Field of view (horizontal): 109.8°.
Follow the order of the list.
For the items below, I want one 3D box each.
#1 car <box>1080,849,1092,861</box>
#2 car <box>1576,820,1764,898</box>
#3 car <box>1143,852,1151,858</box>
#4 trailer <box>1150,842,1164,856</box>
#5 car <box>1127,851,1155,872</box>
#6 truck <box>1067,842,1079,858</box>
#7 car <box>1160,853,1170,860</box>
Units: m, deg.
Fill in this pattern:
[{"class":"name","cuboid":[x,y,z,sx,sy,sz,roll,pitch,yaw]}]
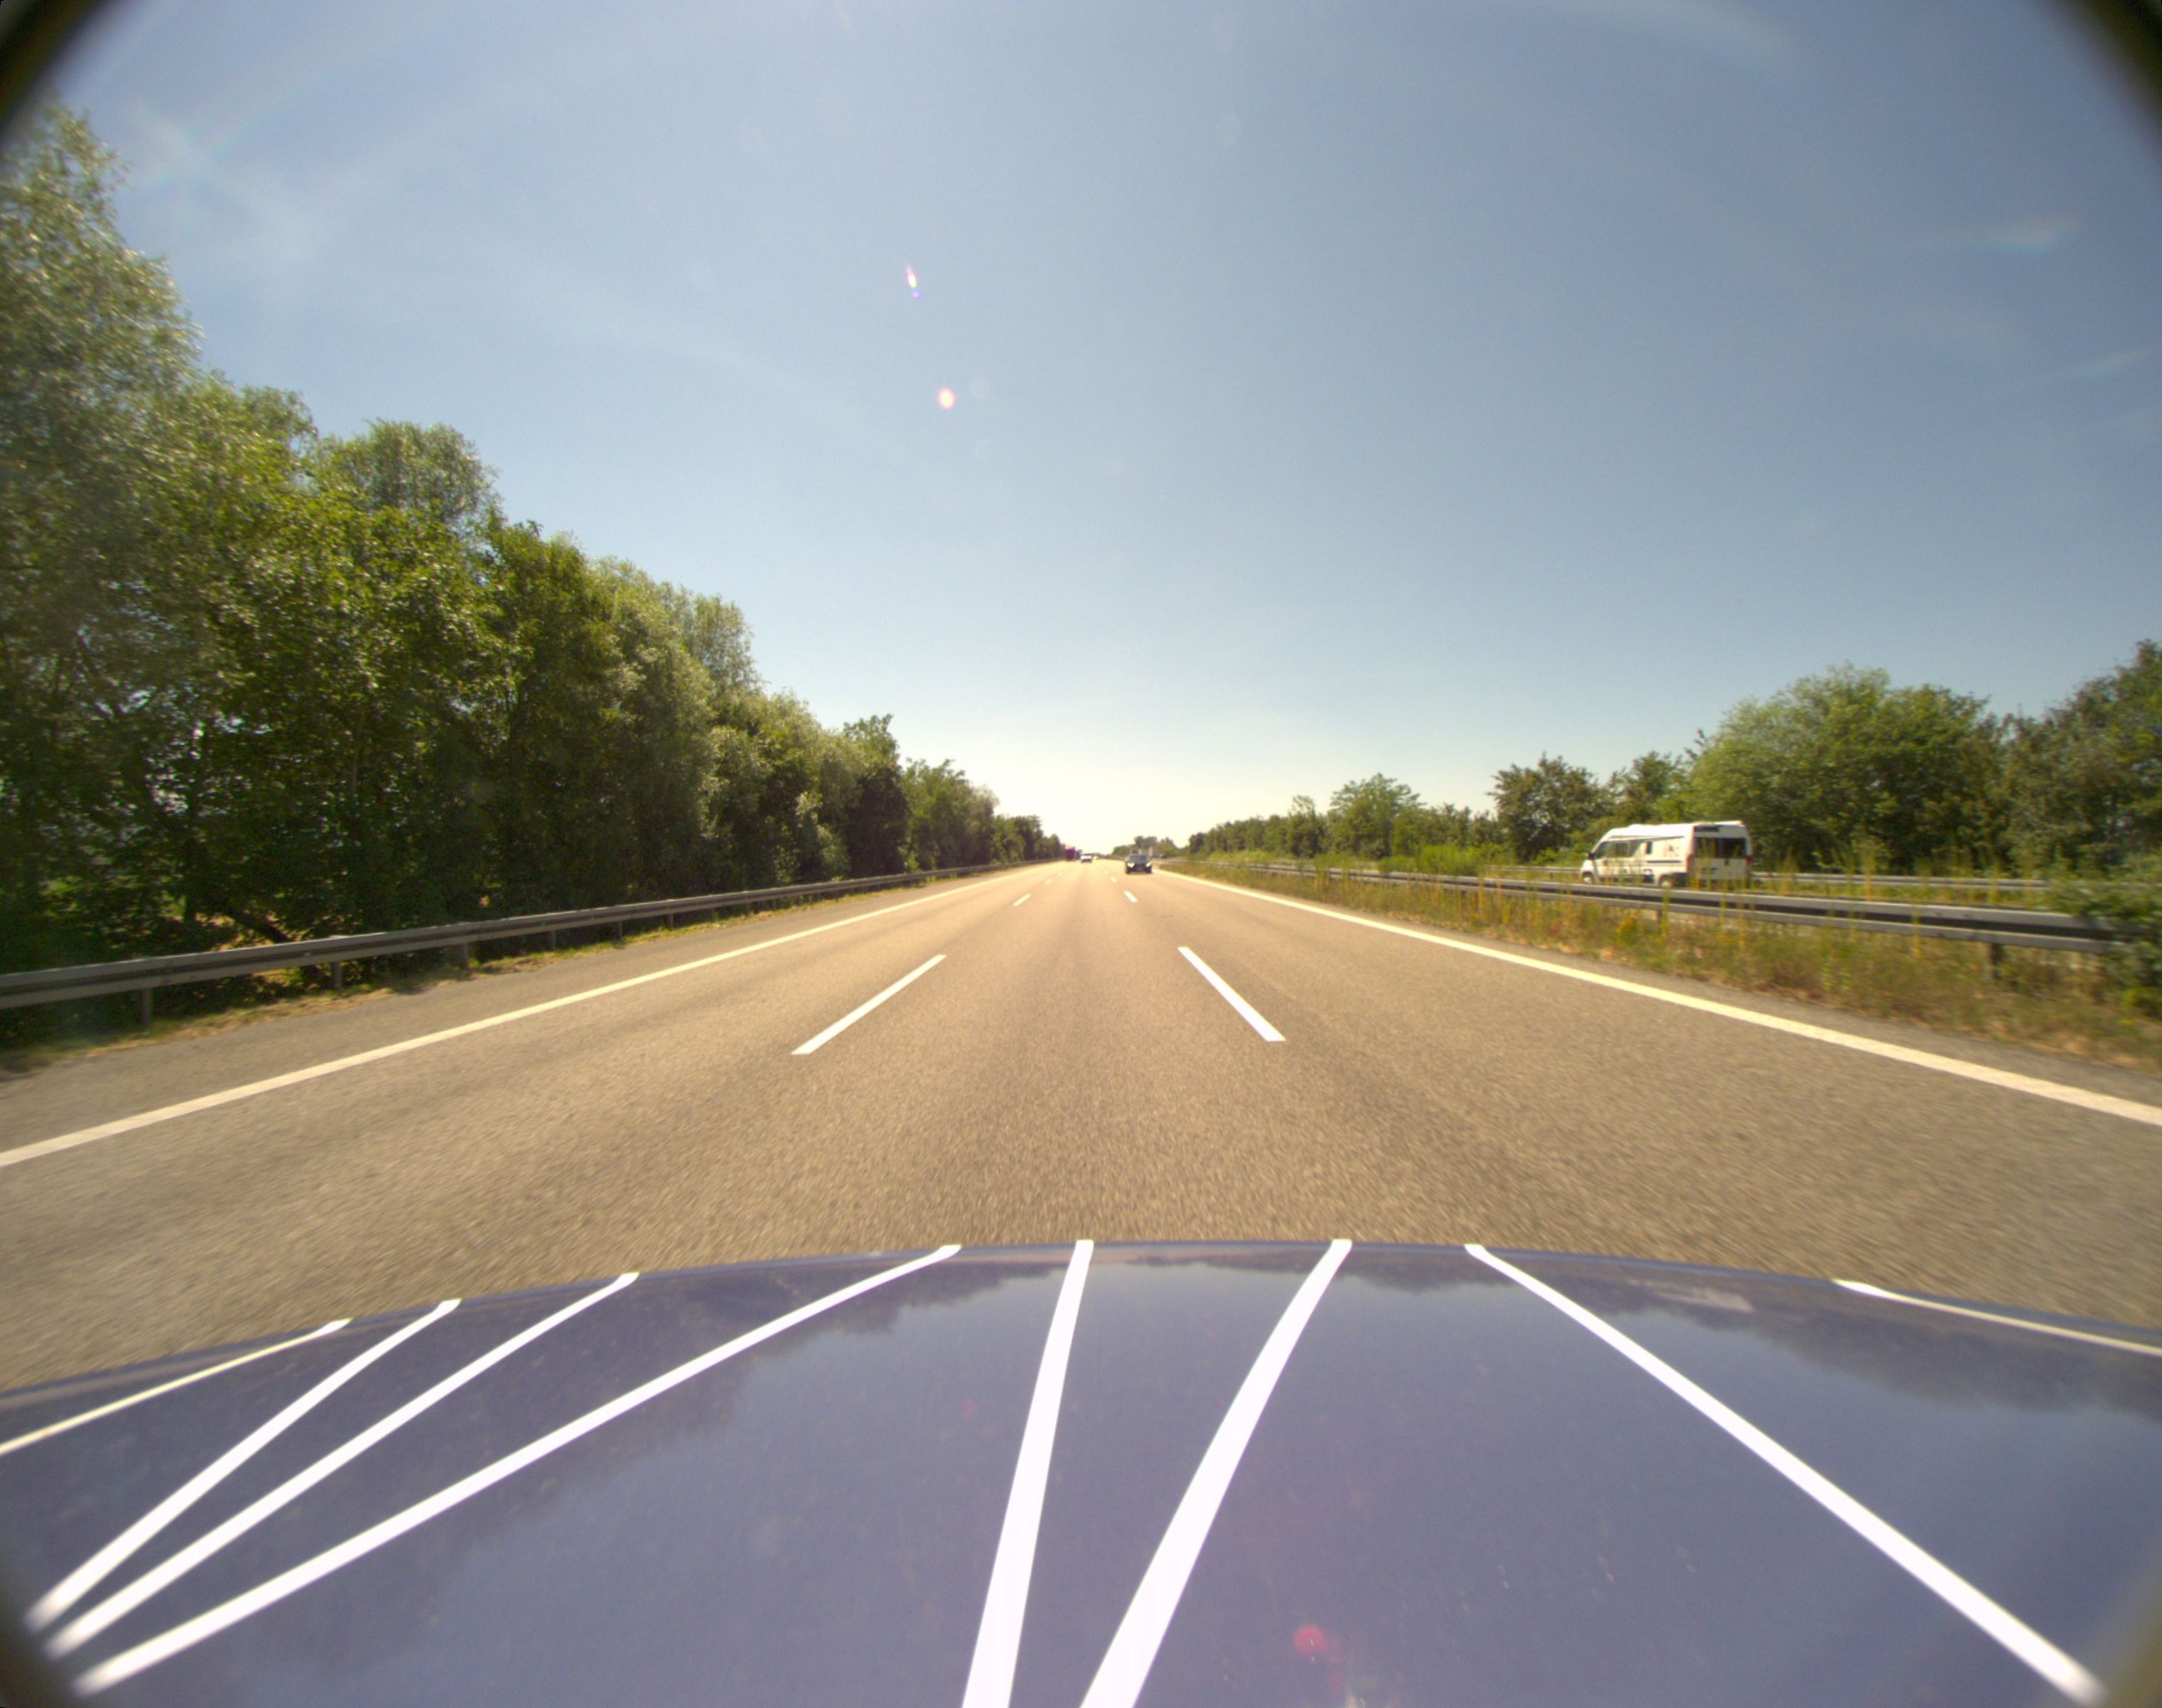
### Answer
[{"class":"car","cuboid":[0.966,0.212,137.621,1.998,2.001,4.756,-2,0,1]},{"class":"car","cuboid":[20.749,0.157,27.237,2.108,2.449,6.015,-1,0,0]},{"class":"car","cuboid":[14.974,0.262,173.369,1.557,1.454,4.046,-1,0,0]},{"class":"trailer","cuboid":[24.163,-1.635,242.116,3.305,4.161,13.542,0,0,0]},{"class":"car","cuboid":[4.297,0.551,55.236,1.736,1.433,4.000,-3,0,1]},{"class":"truck","cuboid":[-2.075,-1.095,200.647,2.938,3.933,10.261,-2,0,1]},{"class":"car","cuboid":[19.547,0.567,177.681,1.867,1.393,4.531,0,0,0]}]
